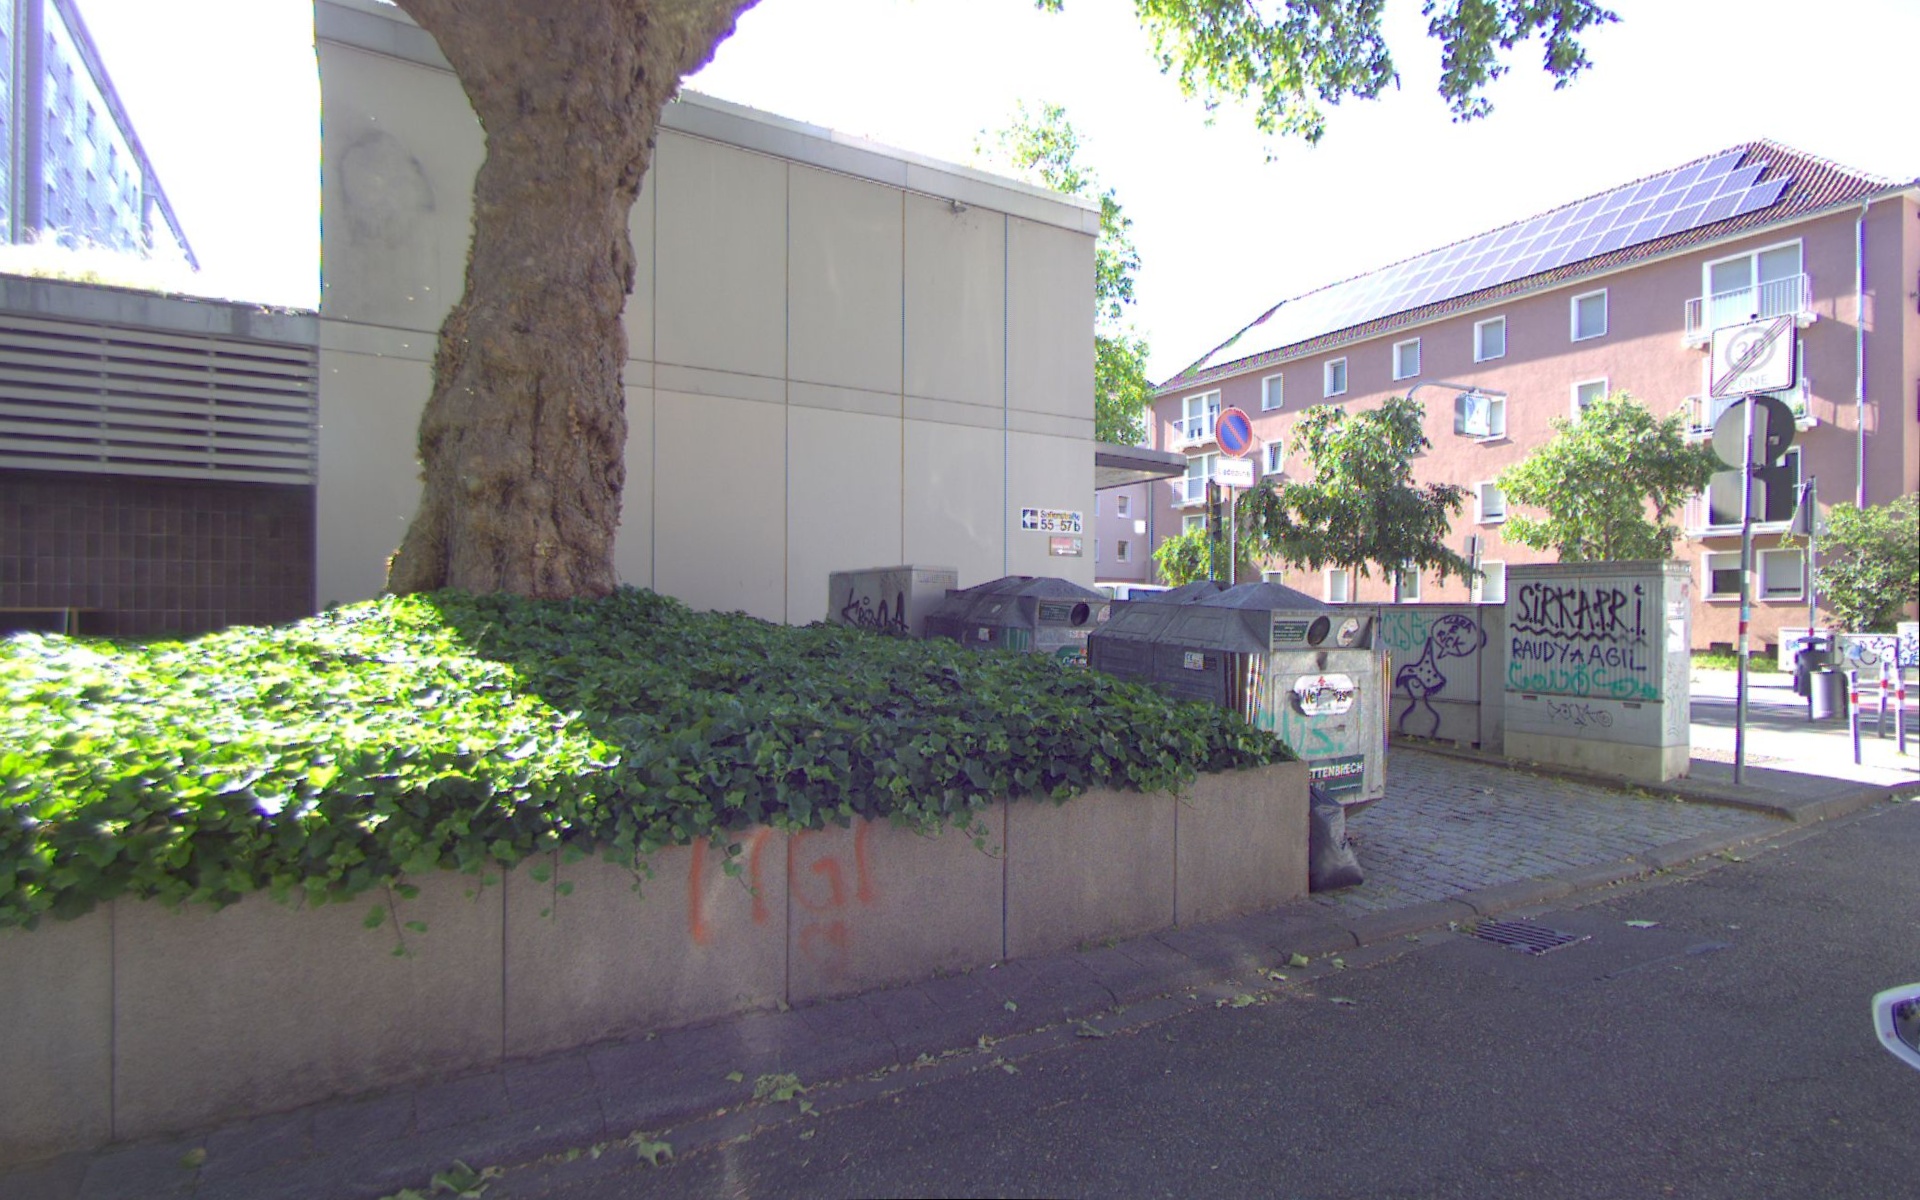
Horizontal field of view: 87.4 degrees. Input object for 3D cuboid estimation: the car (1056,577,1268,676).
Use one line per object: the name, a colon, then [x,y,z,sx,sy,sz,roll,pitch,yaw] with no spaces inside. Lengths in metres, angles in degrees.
car: [4.628,0.645,22.792,4.694,2.032,1.942,3,-2,-33]

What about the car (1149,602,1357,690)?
car: [6.057,0.895,20.607,4.256,1.634,1.743,1,-1,-32]
